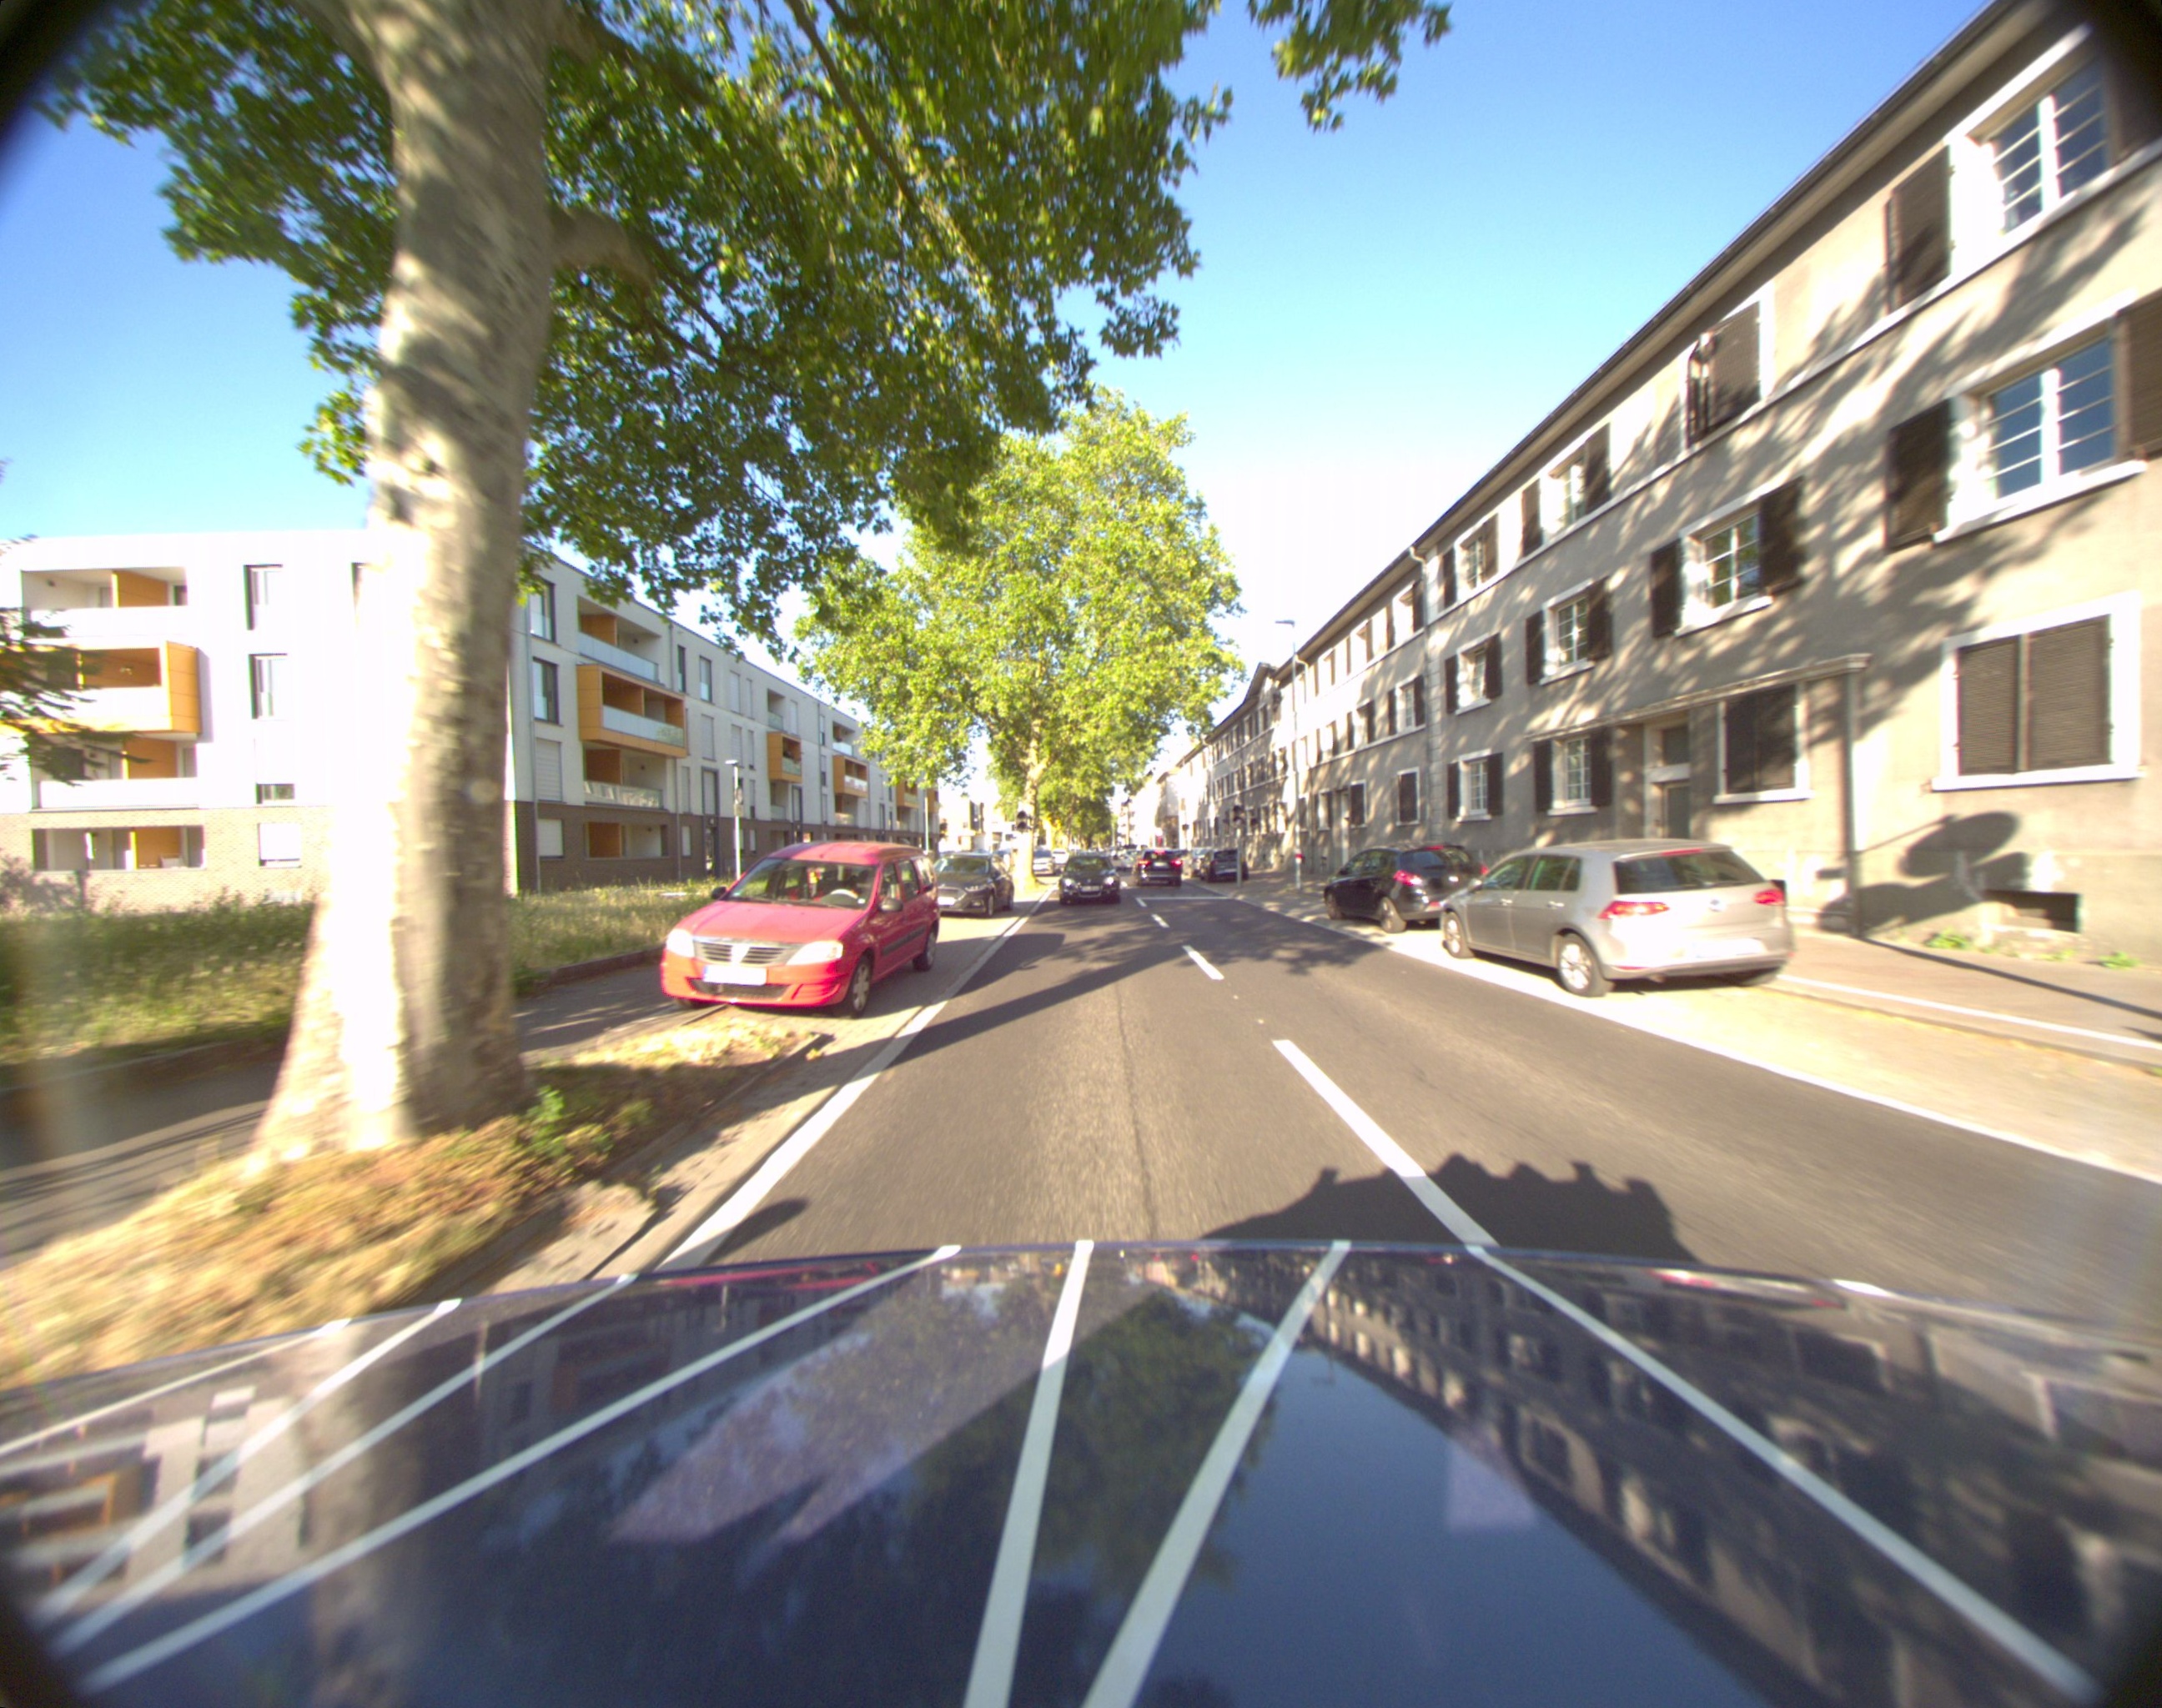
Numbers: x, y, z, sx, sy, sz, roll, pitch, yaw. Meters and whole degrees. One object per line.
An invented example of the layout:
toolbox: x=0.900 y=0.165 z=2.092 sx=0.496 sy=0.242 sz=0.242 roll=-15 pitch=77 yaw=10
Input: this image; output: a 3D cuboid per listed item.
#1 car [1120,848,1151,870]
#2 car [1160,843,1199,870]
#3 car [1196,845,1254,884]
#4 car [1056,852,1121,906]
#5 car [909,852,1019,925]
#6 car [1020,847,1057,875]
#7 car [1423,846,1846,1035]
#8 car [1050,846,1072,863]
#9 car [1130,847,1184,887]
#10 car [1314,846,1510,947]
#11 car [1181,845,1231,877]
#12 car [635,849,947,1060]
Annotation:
car: x=3.755 y=0.308 z=52.762 sx=1.870 sy=1.475 sz=4.086 roll=-1 pitch=1 yaw=0
car: x=6.350 y=0.132 z=49.326 sx=1.870 sy=1.603 sz=4.085 roll=-2 pitch=1 yaw=-1
car: x=6.289 y=0.429 z=33.558 sx=1.869 sy=1.475 sz=4.086 roll=-4 pitch=1 yaw=3
car: x=0.182 y=0.729 z=24.317 sx=1.870 sy=1.471 sz=4.085 roll=-1 pitch=1 yaw=-1
car: x=-2.712 y=0.739 z=18.636 sx=1.704 sy=1.472 sz=4.697 roll=1 pitch=1 yaw=3
car: x=-2.448 y=0.379 z=44.597 sx=1.869 sy=1.603 sz=4.086 roll=0 pitch=1 yaw=1
car: x=5.557 y=0.712 z=8.419 sx=1.765 sy=1.475 sz=4.108 roll=-3 pitch=1 yaw=2
car: x=-1.888 y=0.013 z=72.804 sx=1.885 sy=1.475 sz=3.999 roll=-1 pitch=1 yaw=1
car: x=3.174 y=0.489 z=32.442 sx=1.901 sy=1.581 sz=4.068 roll=-1 pitch=1 yaw=0
car: x=5.838 y=0.643 z=13.986 sx=1.711 sy=1.498 sz=4.052 roll=-3 pitch=1 yaw=-1
car: x=6.446 y=0.315 z=39.507 sx=1.870 sy=1.475 sz=4.086 roll=-3 pitch=1 yaw=0
car: x=-2.737 y=0.803 z=8.329 sx=1.602 sy=1.680 sz=4.336 roll=-1 pitch=1 yaw=2
